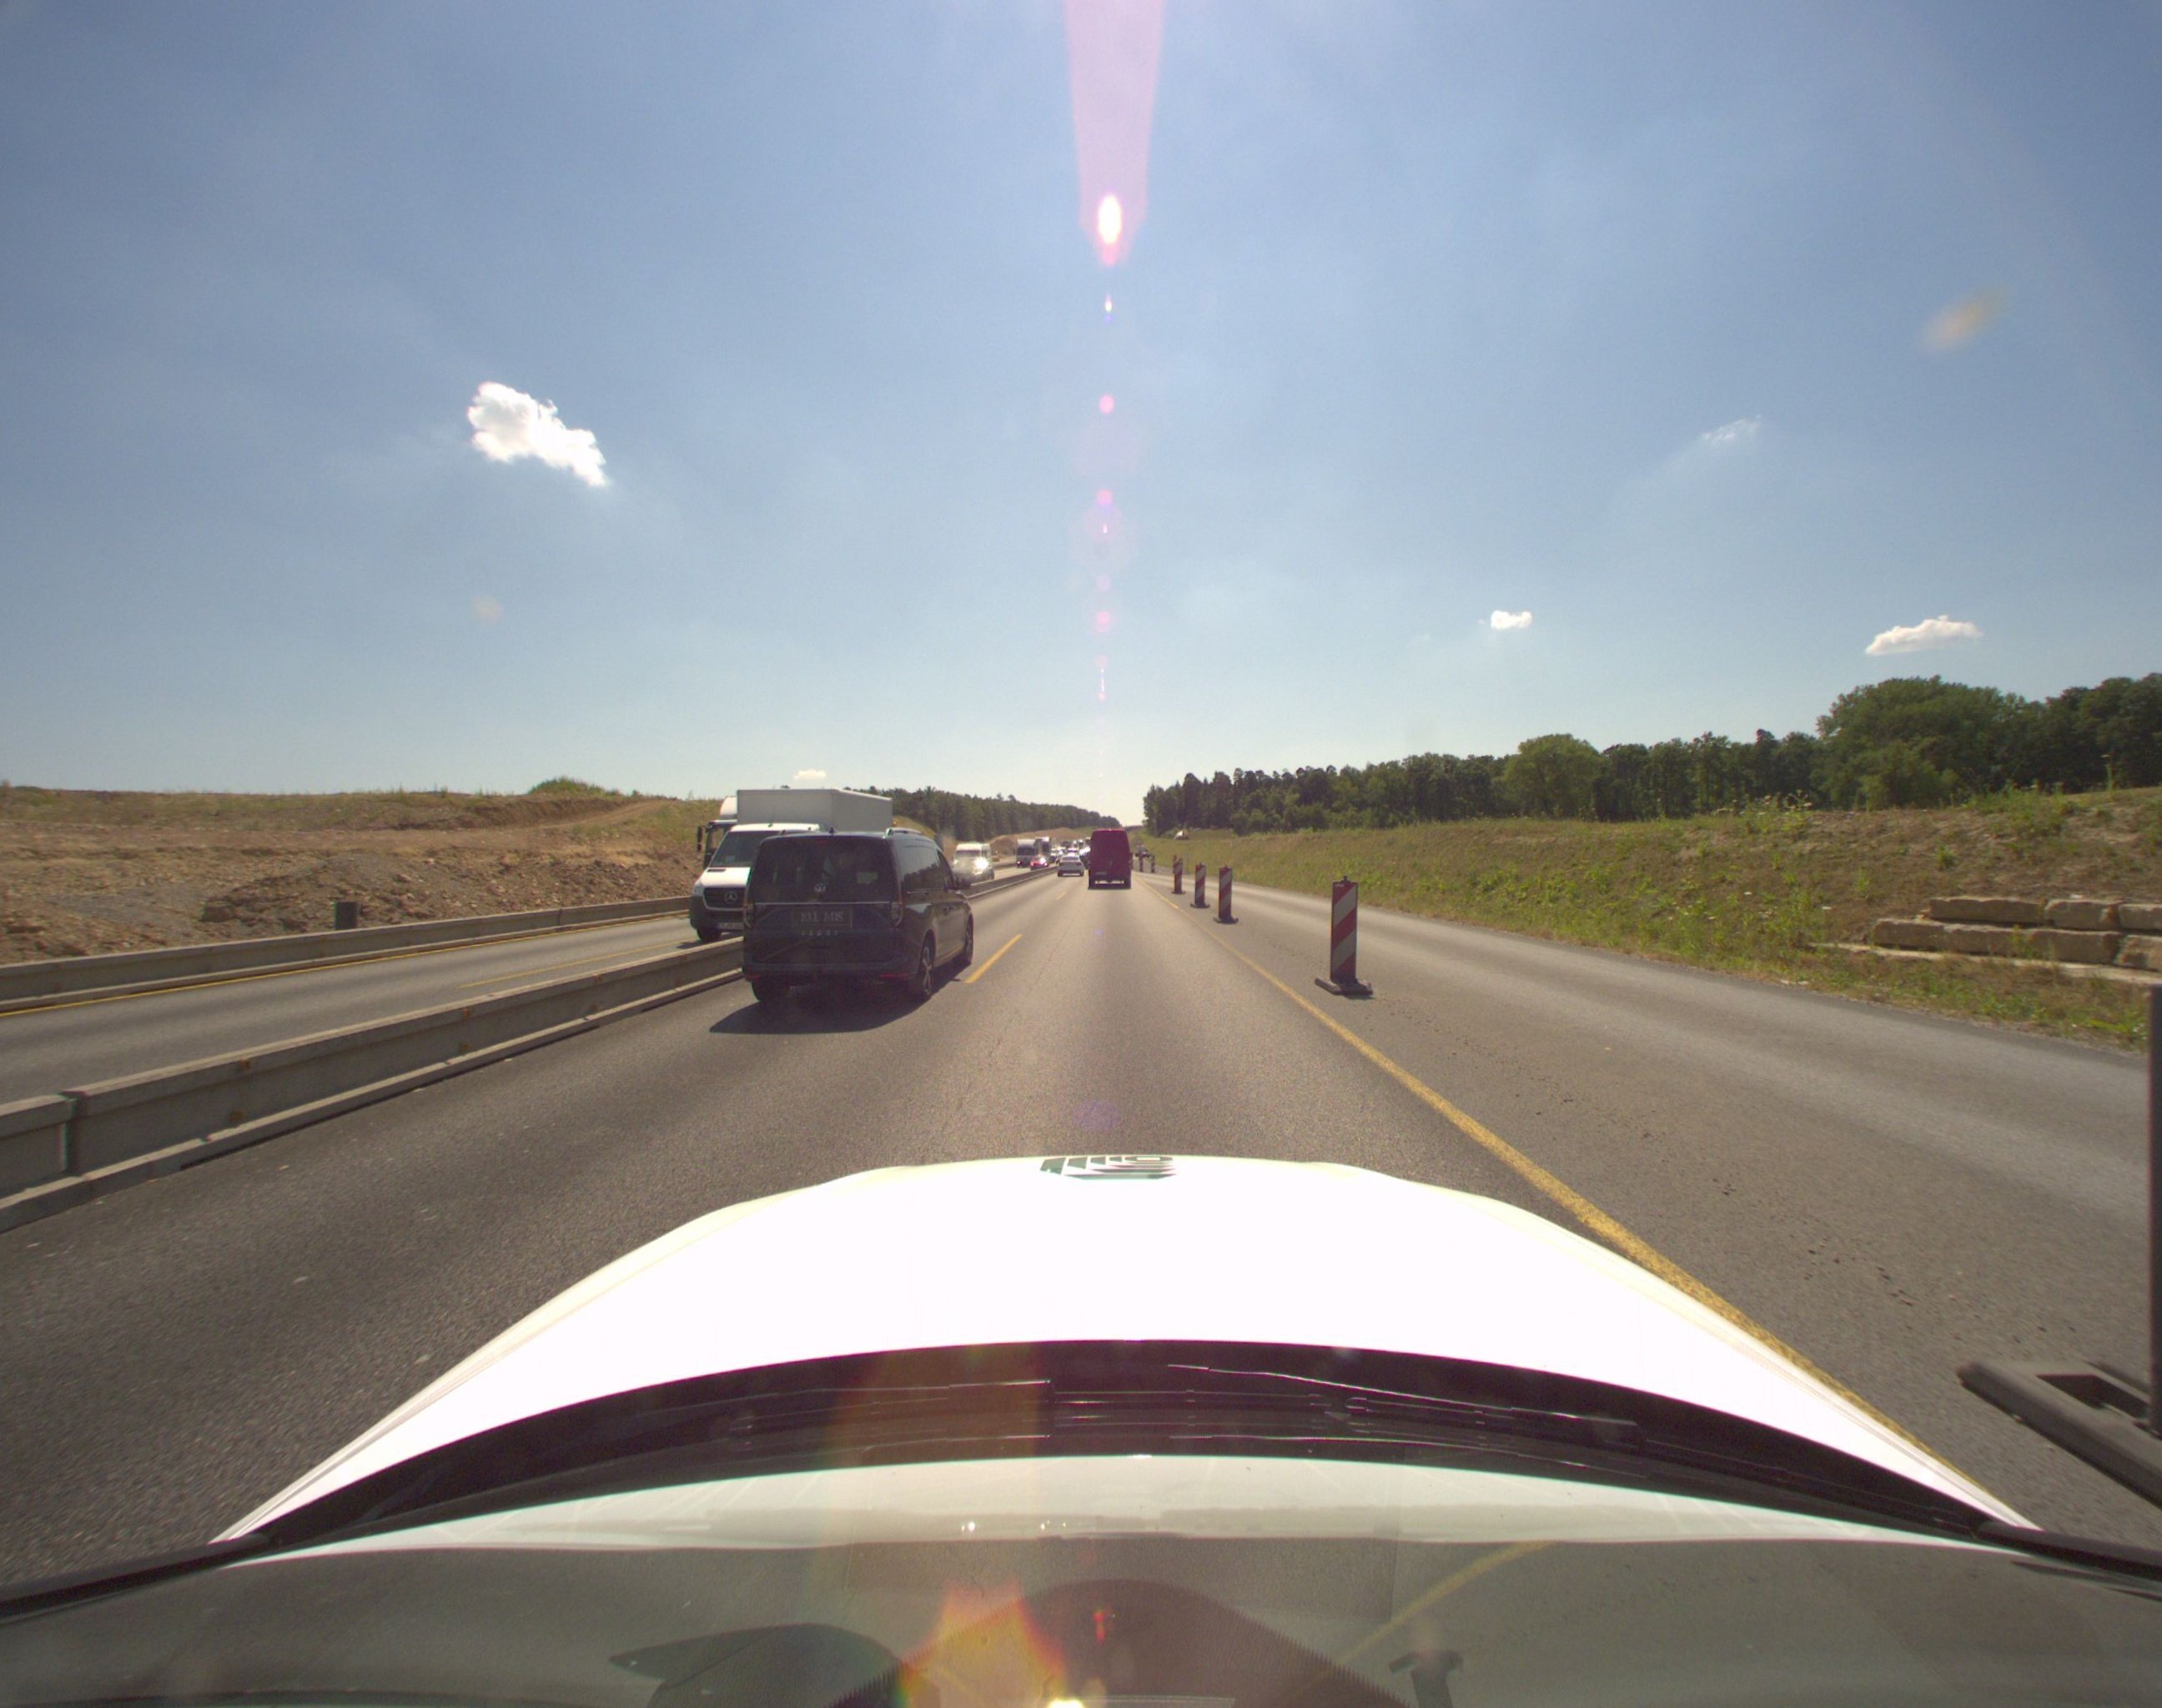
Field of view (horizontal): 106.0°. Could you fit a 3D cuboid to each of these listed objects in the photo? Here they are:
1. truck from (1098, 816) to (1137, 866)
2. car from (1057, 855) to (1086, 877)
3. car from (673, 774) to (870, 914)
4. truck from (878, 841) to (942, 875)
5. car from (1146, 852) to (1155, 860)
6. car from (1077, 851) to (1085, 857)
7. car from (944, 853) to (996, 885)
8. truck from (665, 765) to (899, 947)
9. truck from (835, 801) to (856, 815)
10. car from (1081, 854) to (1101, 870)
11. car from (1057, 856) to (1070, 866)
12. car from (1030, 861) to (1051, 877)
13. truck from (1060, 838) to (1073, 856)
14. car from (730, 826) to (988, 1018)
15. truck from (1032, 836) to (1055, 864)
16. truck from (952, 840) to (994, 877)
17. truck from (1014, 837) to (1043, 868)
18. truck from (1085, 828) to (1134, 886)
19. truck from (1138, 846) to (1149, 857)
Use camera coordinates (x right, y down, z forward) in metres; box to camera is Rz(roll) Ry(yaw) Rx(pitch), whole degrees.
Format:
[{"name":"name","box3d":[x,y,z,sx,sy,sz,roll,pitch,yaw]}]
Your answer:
[{"name":"truck","box3d":[4.366,-1.366,99.203,4.383,5.496,16.610,0,-1,2]},{"name":"car","box3d":[-0.642,0.853,57.870,1.824,1.522,3.963,0,0,2]},{"name":"car","box3d":[-9.316,-0.287,25.770,2.897,3.740,8.094,0,0,2]},{"name":"truck","box3d":[-15.477,0.419,73.862,5.087,2.964,2.557,1,-1,-39]},{"name":"car","box3d":[14.663,0.393,171.982,1.647,1.426,4.548,-3,1,2]},{"name":"car","box3d":[-0.005,0.046,201.475,1.682,1.613,4.595,0,-1,1]},{"name":"car","box3d":[-5.477,0.724,40.666,1.781,1.482,4.563,0,-1,2]},{"name":"truck","box3d":[-6.025,0.064,17.826,2.263,3.150,7.315,0,-1,1]},{"name":"truck","box3d":[-56.655,-11.097,195.947,2.371,2.898,8.279,0,-1,-34]},{"name":"car","box3d":[1.038,0.787,84.064,1.959,1.541,4.313,0,0,2]},{"name":"car","box3d":[-2.618,0.965,120.038,1.852,1.442,4.500,0,-1,0]},{"name":"car","box3d":[-3.915,1.465,79.301,1.621,1.484,4.055,0,-1,2]},{"name":"truck","box3d":[-3.379,-1.660,192.825,2.480,4.198,5.919,-2,0,5]},{"name":"car","box3d":[-2.391,0.626,10.150,1.745,1.824,4.785,0,0,2]},{"name":"truck","box3d":[-5.588,-0.545,121.726,2.838,4.018,4.861,-2,-1,1]},{"name":"truck","box3d":[-7.830,0.269,59.736,2.091,2.569,6.356,0,1,1]},{"name":"truck","box3d":[-6.462,-0.112,101.473,2.634,3.716,9.486,0,-1,2]},{"name":"truck","box3d":[1.346,0.149,38.815,2.145,2.590,5.335,0,0,1]},{"name":"truck","box3d":[14.513,-0.690,189.990,2.117,2.457,5.940,0,1,9]}]
